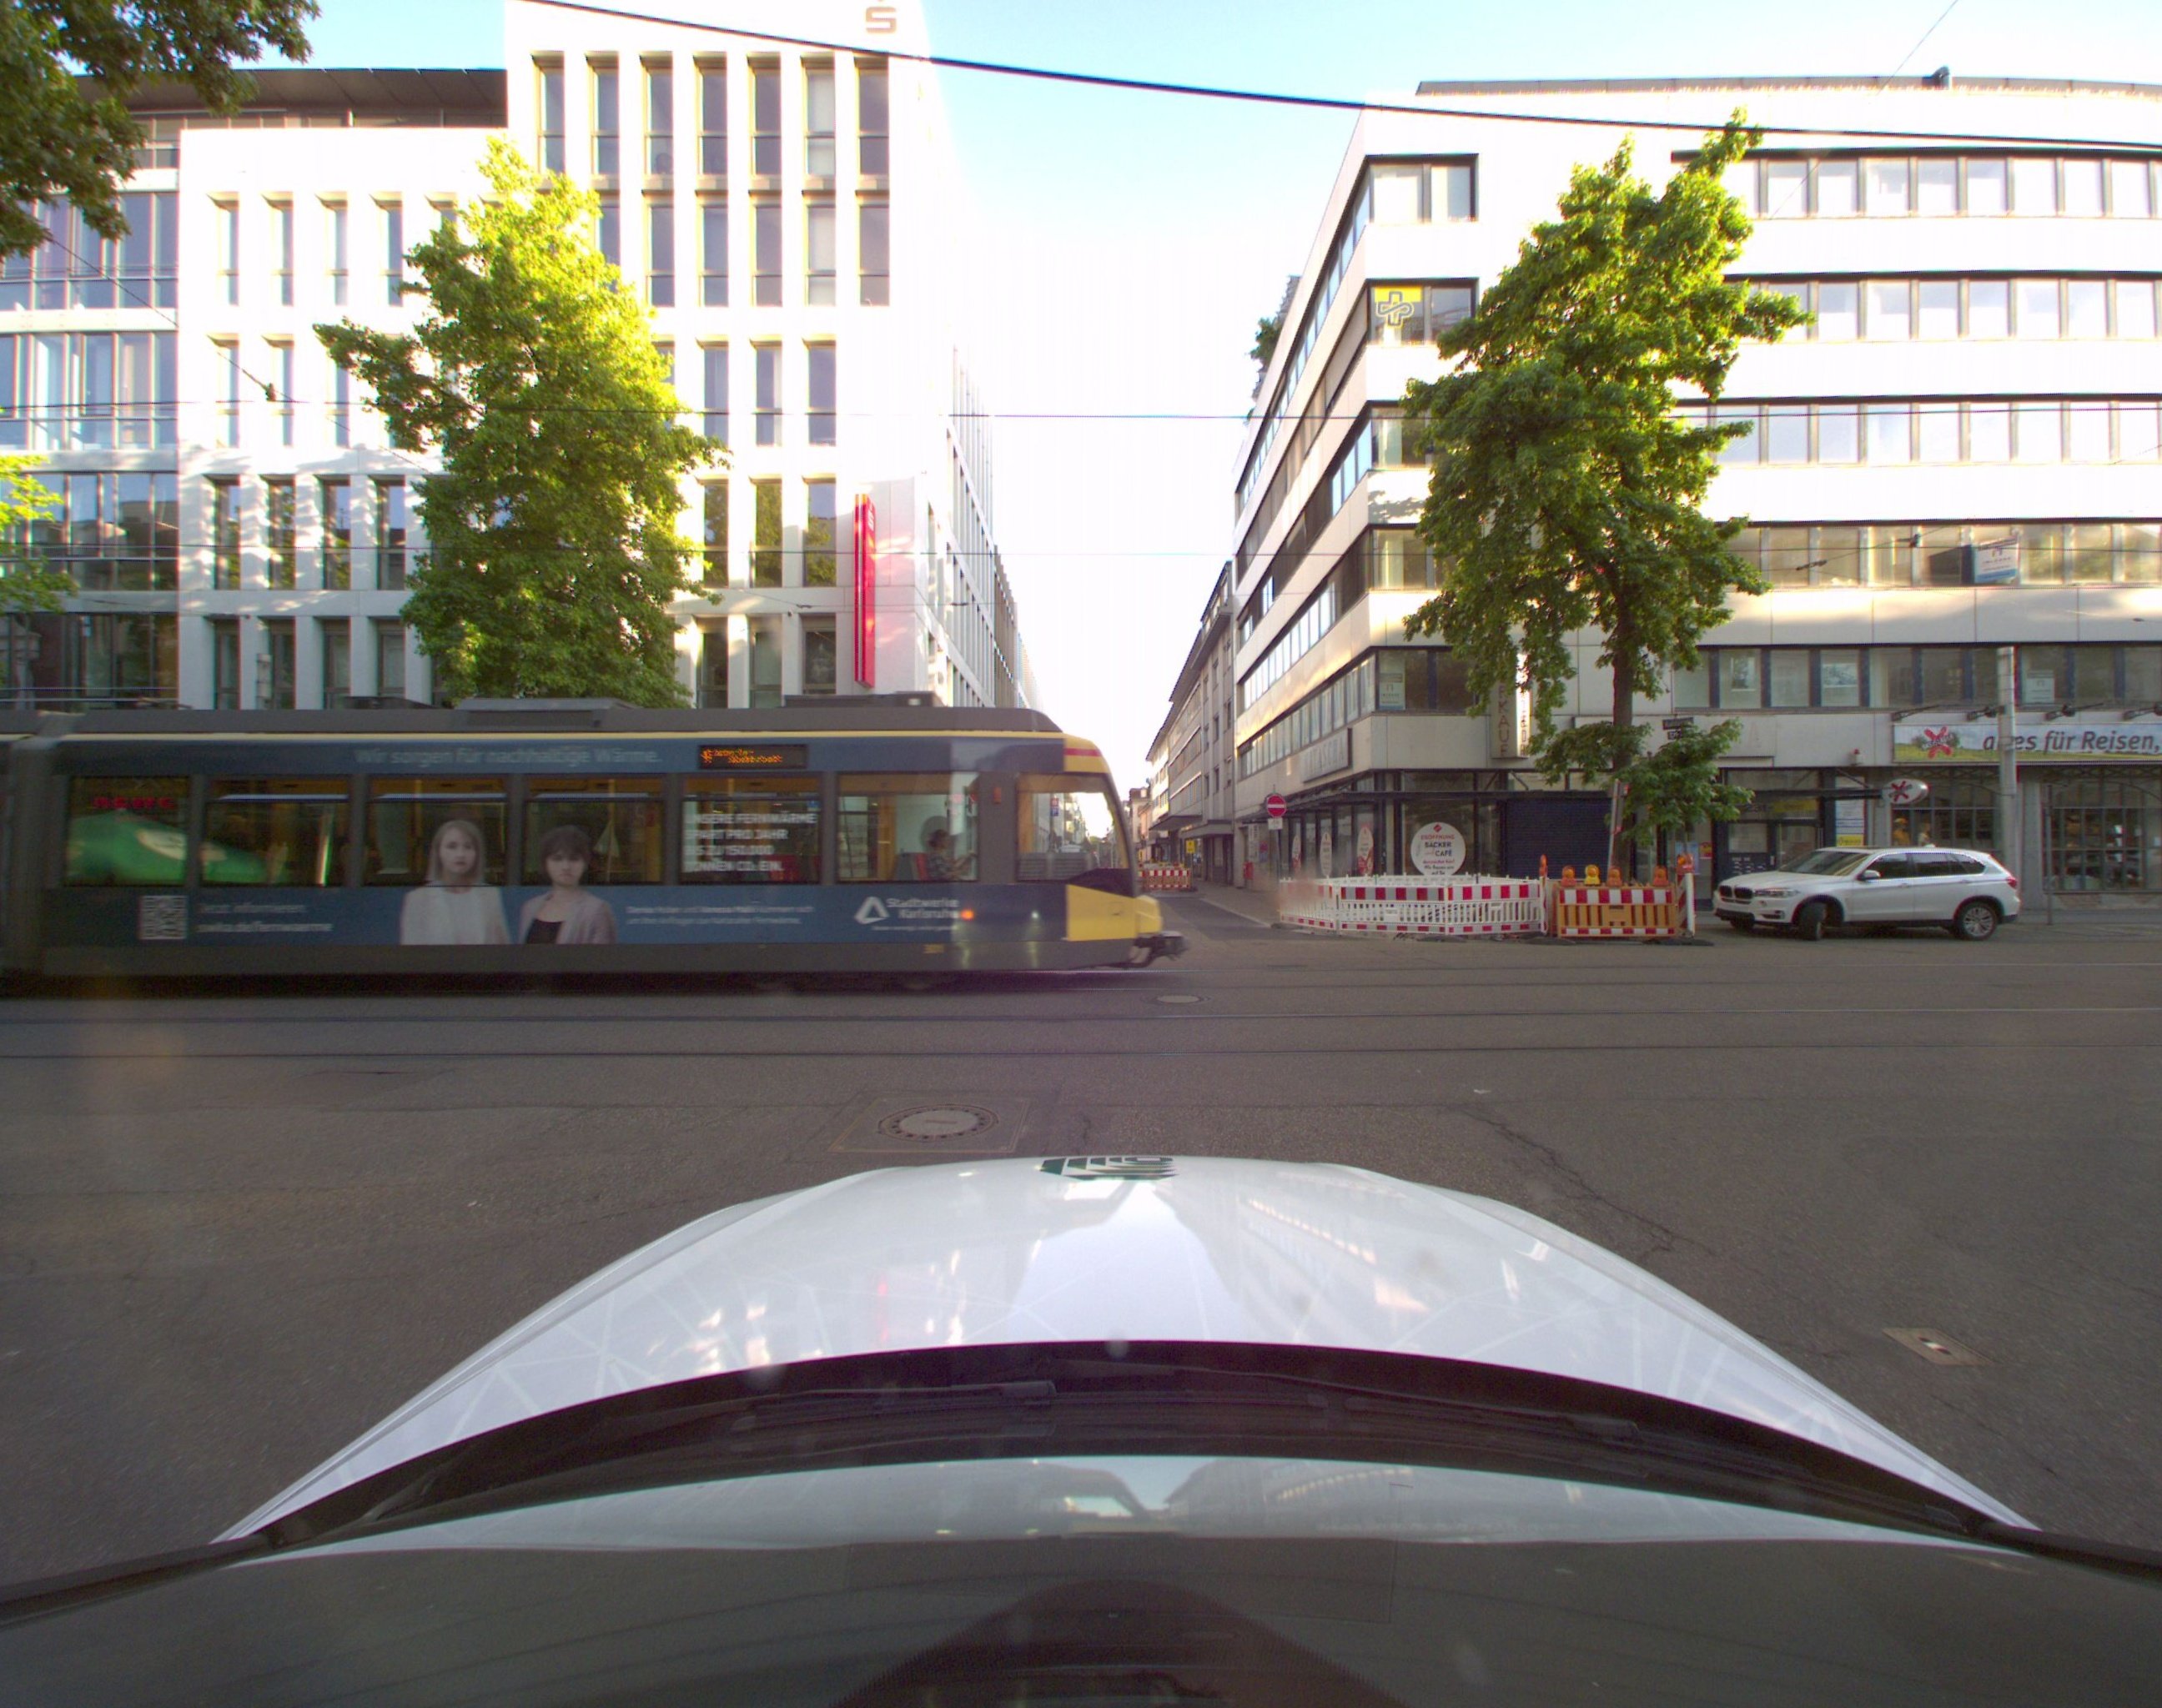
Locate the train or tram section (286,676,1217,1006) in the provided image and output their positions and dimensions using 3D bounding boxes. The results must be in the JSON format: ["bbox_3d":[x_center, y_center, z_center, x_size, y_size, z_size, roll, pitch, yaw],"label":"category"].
[{"bbox_3d":[-3.641,-0.132,10.547,10.301,3.524,3.026,-1,-1,0],"label":"train or tram section"}]

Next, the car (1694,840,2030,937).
[{"bbox_3d":[15.169,0.622,16.057,4.636,1.770,2.002,0,2,2],"label":"car"}]

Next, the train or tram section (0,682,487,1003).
[{"bbox_3d":[-13.997,-0.070,10.556,10.332,3.524,3.017,-1,-1,0],"label":"train or tram section"}]

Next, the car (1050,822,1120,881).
[{"bbox_3d":[0.205,-0.054,24.743,1.889,1.612,4.155,-1,-1,3],"label":"car"}]
